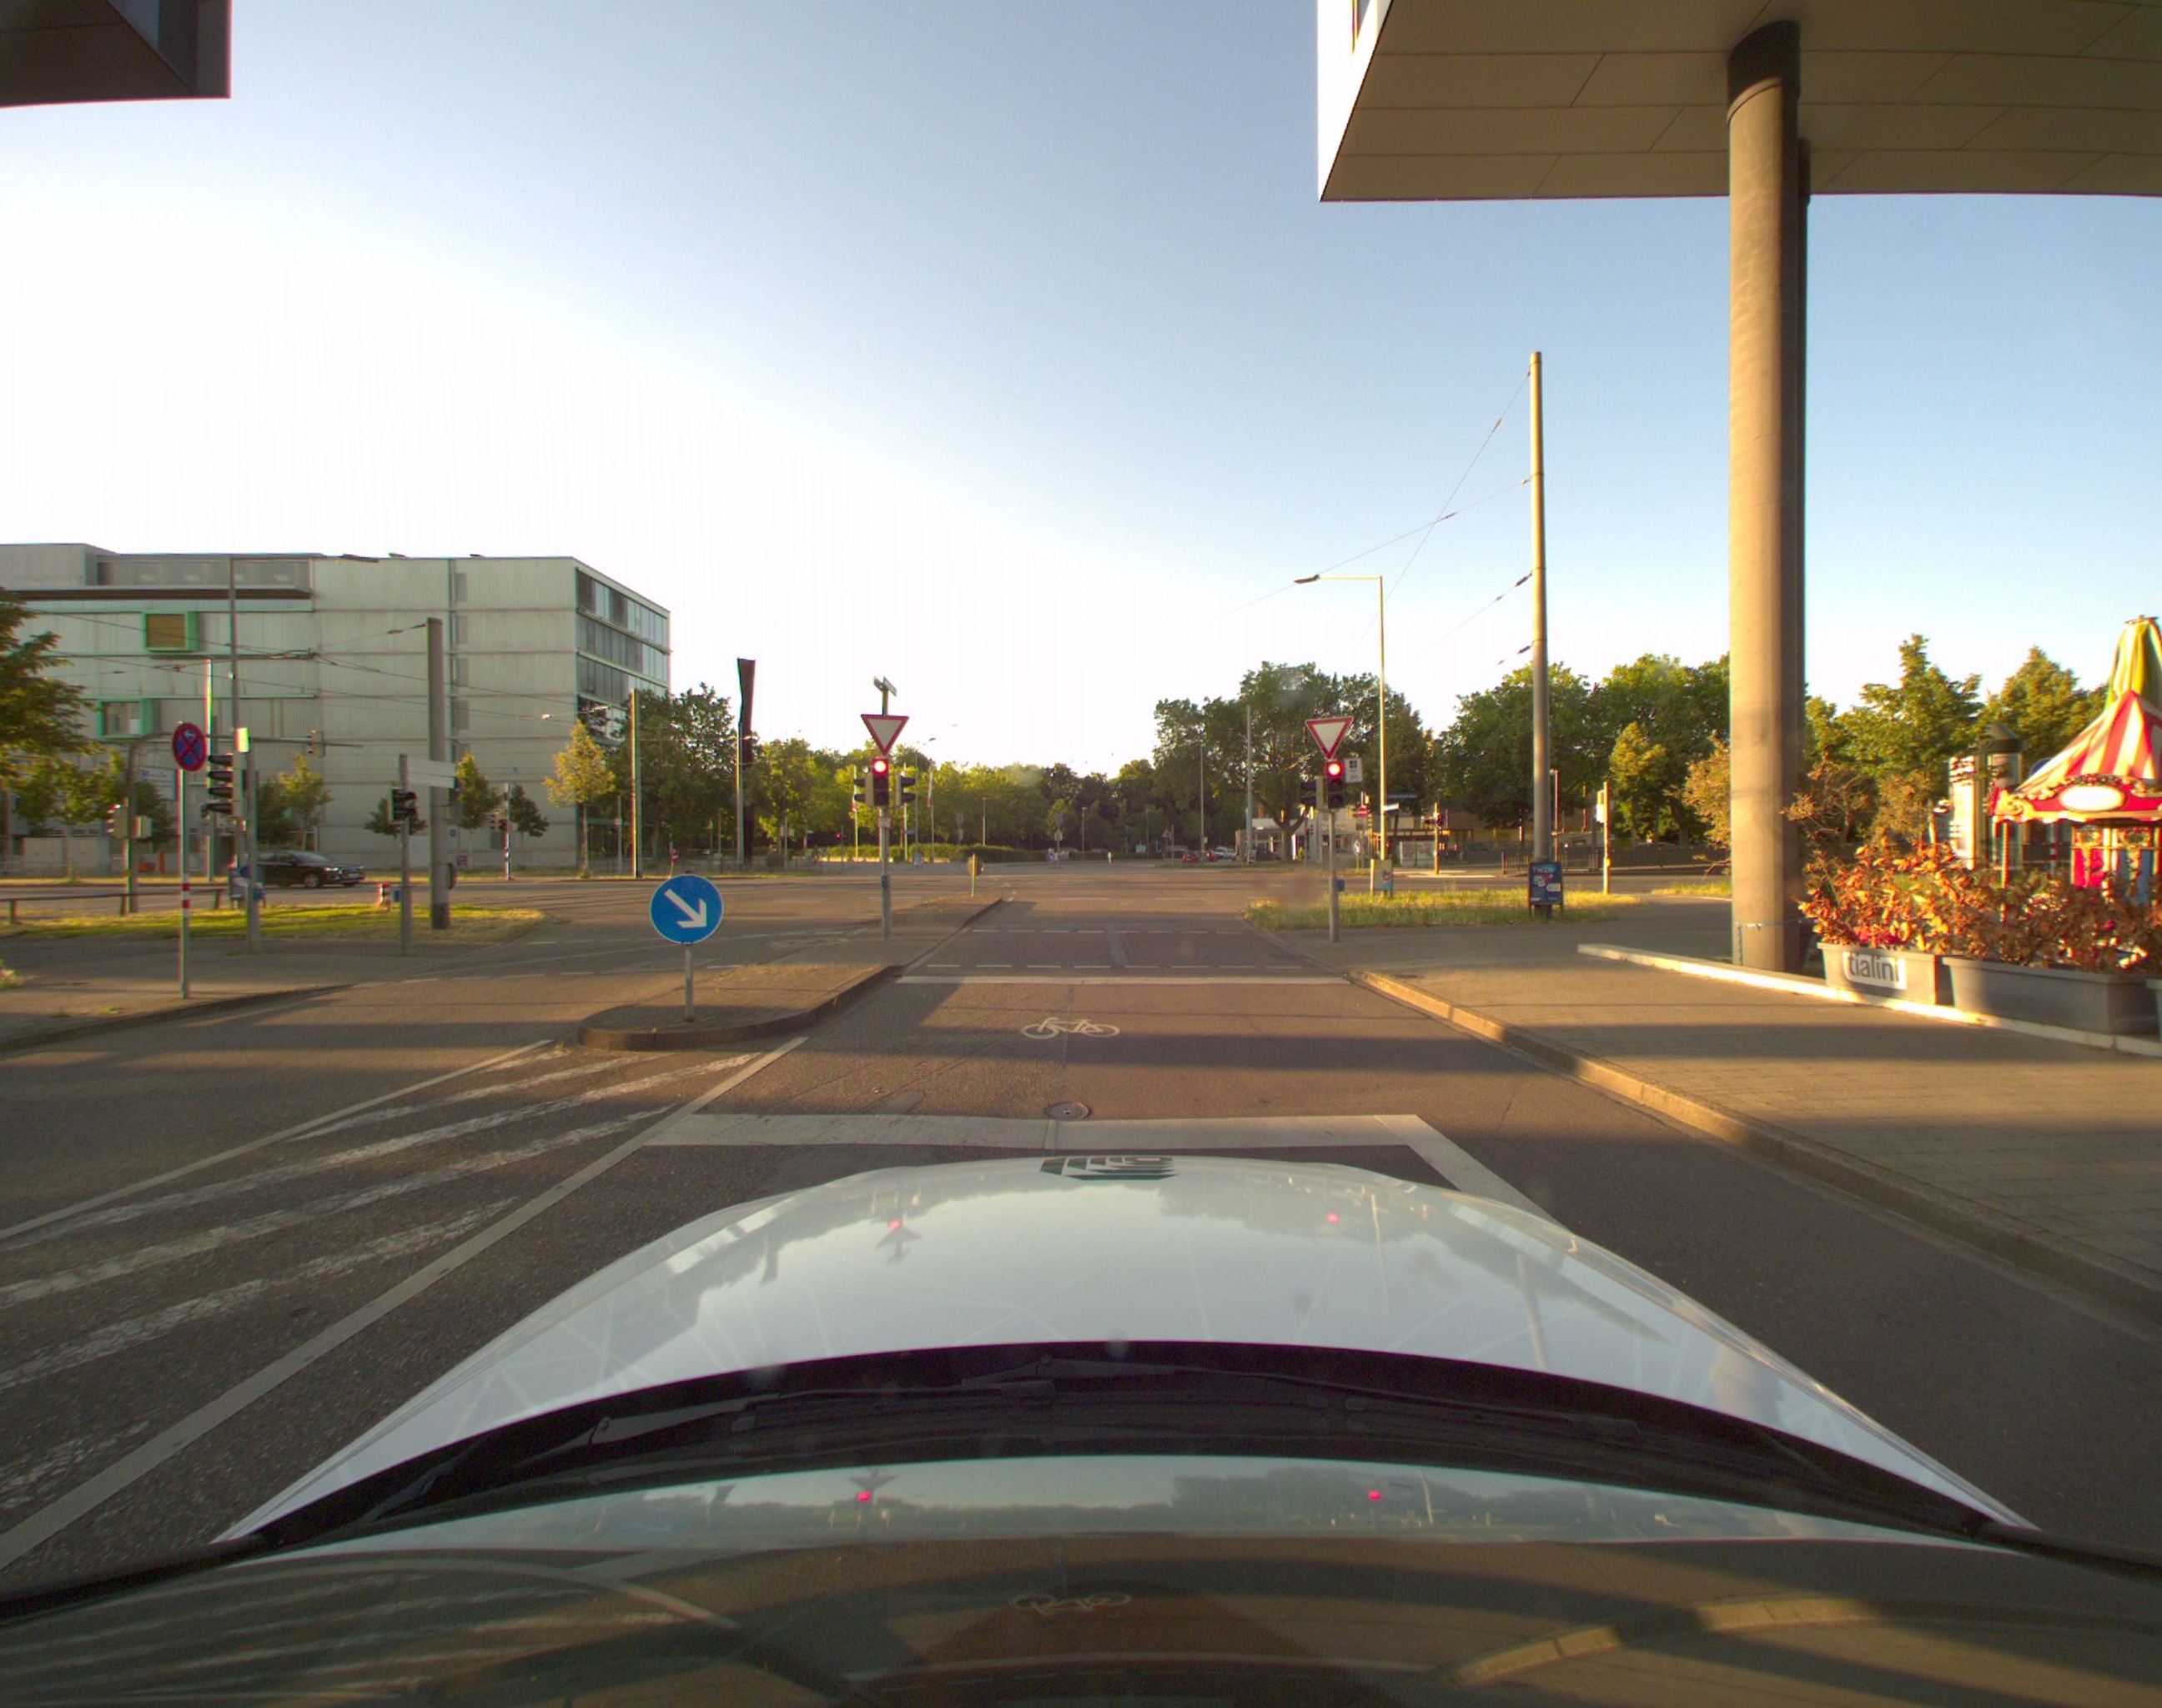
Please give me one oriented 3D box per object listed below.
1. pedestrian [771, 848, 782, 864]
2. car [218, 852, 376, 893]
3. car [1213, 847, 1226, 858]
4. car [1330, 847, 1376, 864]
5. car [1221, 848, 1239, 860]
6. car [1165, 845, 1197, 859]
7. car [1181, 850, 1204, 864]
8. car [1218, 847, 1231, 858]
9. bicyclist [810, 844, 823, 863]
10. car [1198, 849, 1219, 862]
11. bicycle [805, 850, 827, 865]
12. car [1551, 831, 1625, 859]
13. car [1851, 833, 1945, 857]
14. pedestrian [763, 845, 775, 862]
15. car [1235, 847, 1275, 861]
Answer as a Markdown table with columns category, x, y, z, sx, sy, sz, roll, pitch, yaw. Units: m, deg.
| category | x | y | z | sx | sy | sz | roll | pitch | yaw |
| --- | --- | --- | --- | --- | --- | --- | --- | --- | --- |
| pedestrian | -33.063 | 0.197 | 88.428 | 0.852 | 1.744 | 0.835 | -1 | 0 | 29 |
| car | -32.505 | 0.743 | 33.896 | 4.467 | 1.557 | 1.986 | -1 | 0 | -4 |
| car | 22.270 | -0.251 | 130.881 | 1.850 | 1.794 | 4.013 | -1 | -1 | 12 |
| car | 23.934 | 0.163 | 71.762 | 3.715 | 1.440 | 1.669 | -1 | -1 | 11 |
| car | 21.089 | -0.002 | 115.301 | 1.978 | 1.662 | 4.018 | -1 | -1 | 17 |
| car | 15.417 | -0.332 | 125.730 | 4.753 | 2.006 | 2.002 | -1 | -1 | 3 |
| car | 13.106 | 0.377 | 95.560 | 1.978 | 1.662 | 4.018 | -1 | -1 | 17 |
| car | 23.934 | -0.258 | 135.739 | 1.849 | 1.794 | 4.015 | -1 | -1 | 14 |
| bicyclist | -23.549 | -0.025 | 72.545 | 0.908 | 1.709 | 0.757 | -1 | 0 | 44 |
| car | 16.209 | 0.214 | 103.180 | 1.978 | 1.662 | 4.018 | -1 | -1 | 17 |
| bicycle | -23.726 | 0.331 | 72.768 | 2.657 | 1.341 | 0.736 | 0 | 0 | 45 |
| car | 47.907 | -0.876 | 77.041 | 5.561 | 2.551 | 2.235 | -1 | 0 | 9 |
| car | 53.380 | -0.574 | 53.260 | 4.318 | 1.496 | 1.803 | -1 | -1 | -1 |
| pedestrian | -33.588 | -0.059 | 87.724 | 0.852 | 1.744 | 0.835 | -1 | 0 | 32 |
| car | 18.925 | 0.012 | 88.901 | 4.194 | 1.552 | 2.005 | -1 | -1 | 9 |
